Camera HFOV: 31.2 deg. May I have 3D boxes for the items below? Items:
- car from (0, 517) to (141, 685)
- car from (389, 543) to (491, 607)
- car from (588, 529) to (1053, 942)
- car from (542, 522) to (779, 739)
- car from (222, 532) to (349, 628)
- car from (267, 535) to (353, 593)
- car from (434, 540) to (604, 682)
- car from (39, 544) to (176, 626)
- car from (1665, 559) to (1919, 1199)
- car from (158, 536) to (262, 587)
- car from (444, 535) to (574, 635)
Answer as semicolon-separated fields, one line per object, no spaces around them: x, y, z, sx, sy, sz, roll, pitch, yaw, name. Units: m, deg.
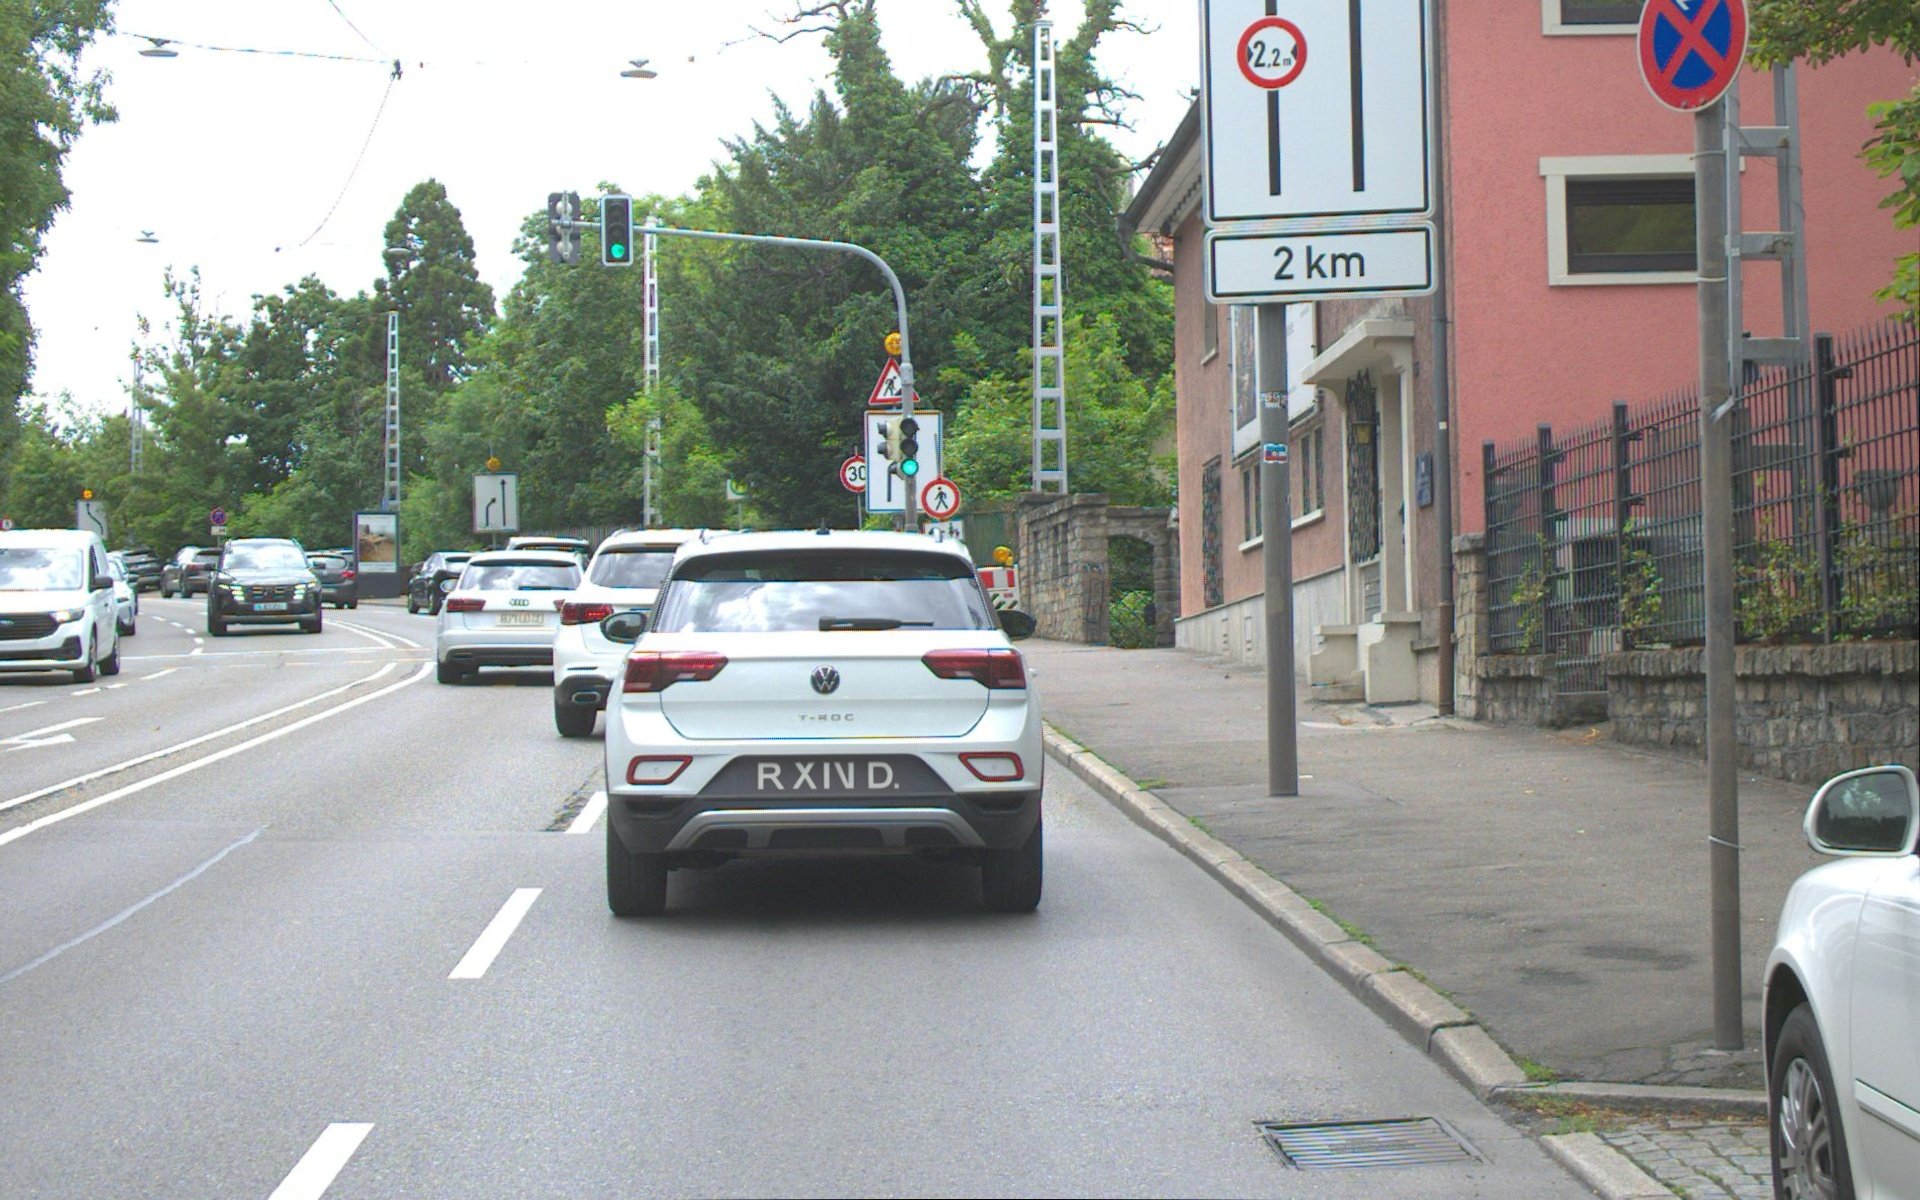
-11.053;-0.015;41.026;1.892;1.842;4.397;4;0;-7;car
-12.083;-0.564;79.676;1.993;1.445;4.152;0;0;-13;car
-0.522;0.519;15.095;1.758;1.550;3.795;1;0;0;car
-2.368;0.230;27.853;1.757;1.604;3.796;1;0;-3;car
-11.830;-0.386;60.489;1.848;1.626;4.362;0;1;-7;car
-16.616;-0.908;87.758;1.780;1.449;4.001;0;0;-16;car
-4.857;0.113;38.144;1.757;1.466;3.796;1;0;-6;car
-15.483;-0.297;62.619;1.715;1.398;4.024;-1;1;-4;car
2.339;0.658;4.952;1.675;1.456;4.366;-2;1;0;car
-24.294;-1.235;111.289;1.993;1.570;4.150;0;0;-32;car
-7.341;-0.265;56.016;1.993;1.551;4.151;1;1;-7;car
